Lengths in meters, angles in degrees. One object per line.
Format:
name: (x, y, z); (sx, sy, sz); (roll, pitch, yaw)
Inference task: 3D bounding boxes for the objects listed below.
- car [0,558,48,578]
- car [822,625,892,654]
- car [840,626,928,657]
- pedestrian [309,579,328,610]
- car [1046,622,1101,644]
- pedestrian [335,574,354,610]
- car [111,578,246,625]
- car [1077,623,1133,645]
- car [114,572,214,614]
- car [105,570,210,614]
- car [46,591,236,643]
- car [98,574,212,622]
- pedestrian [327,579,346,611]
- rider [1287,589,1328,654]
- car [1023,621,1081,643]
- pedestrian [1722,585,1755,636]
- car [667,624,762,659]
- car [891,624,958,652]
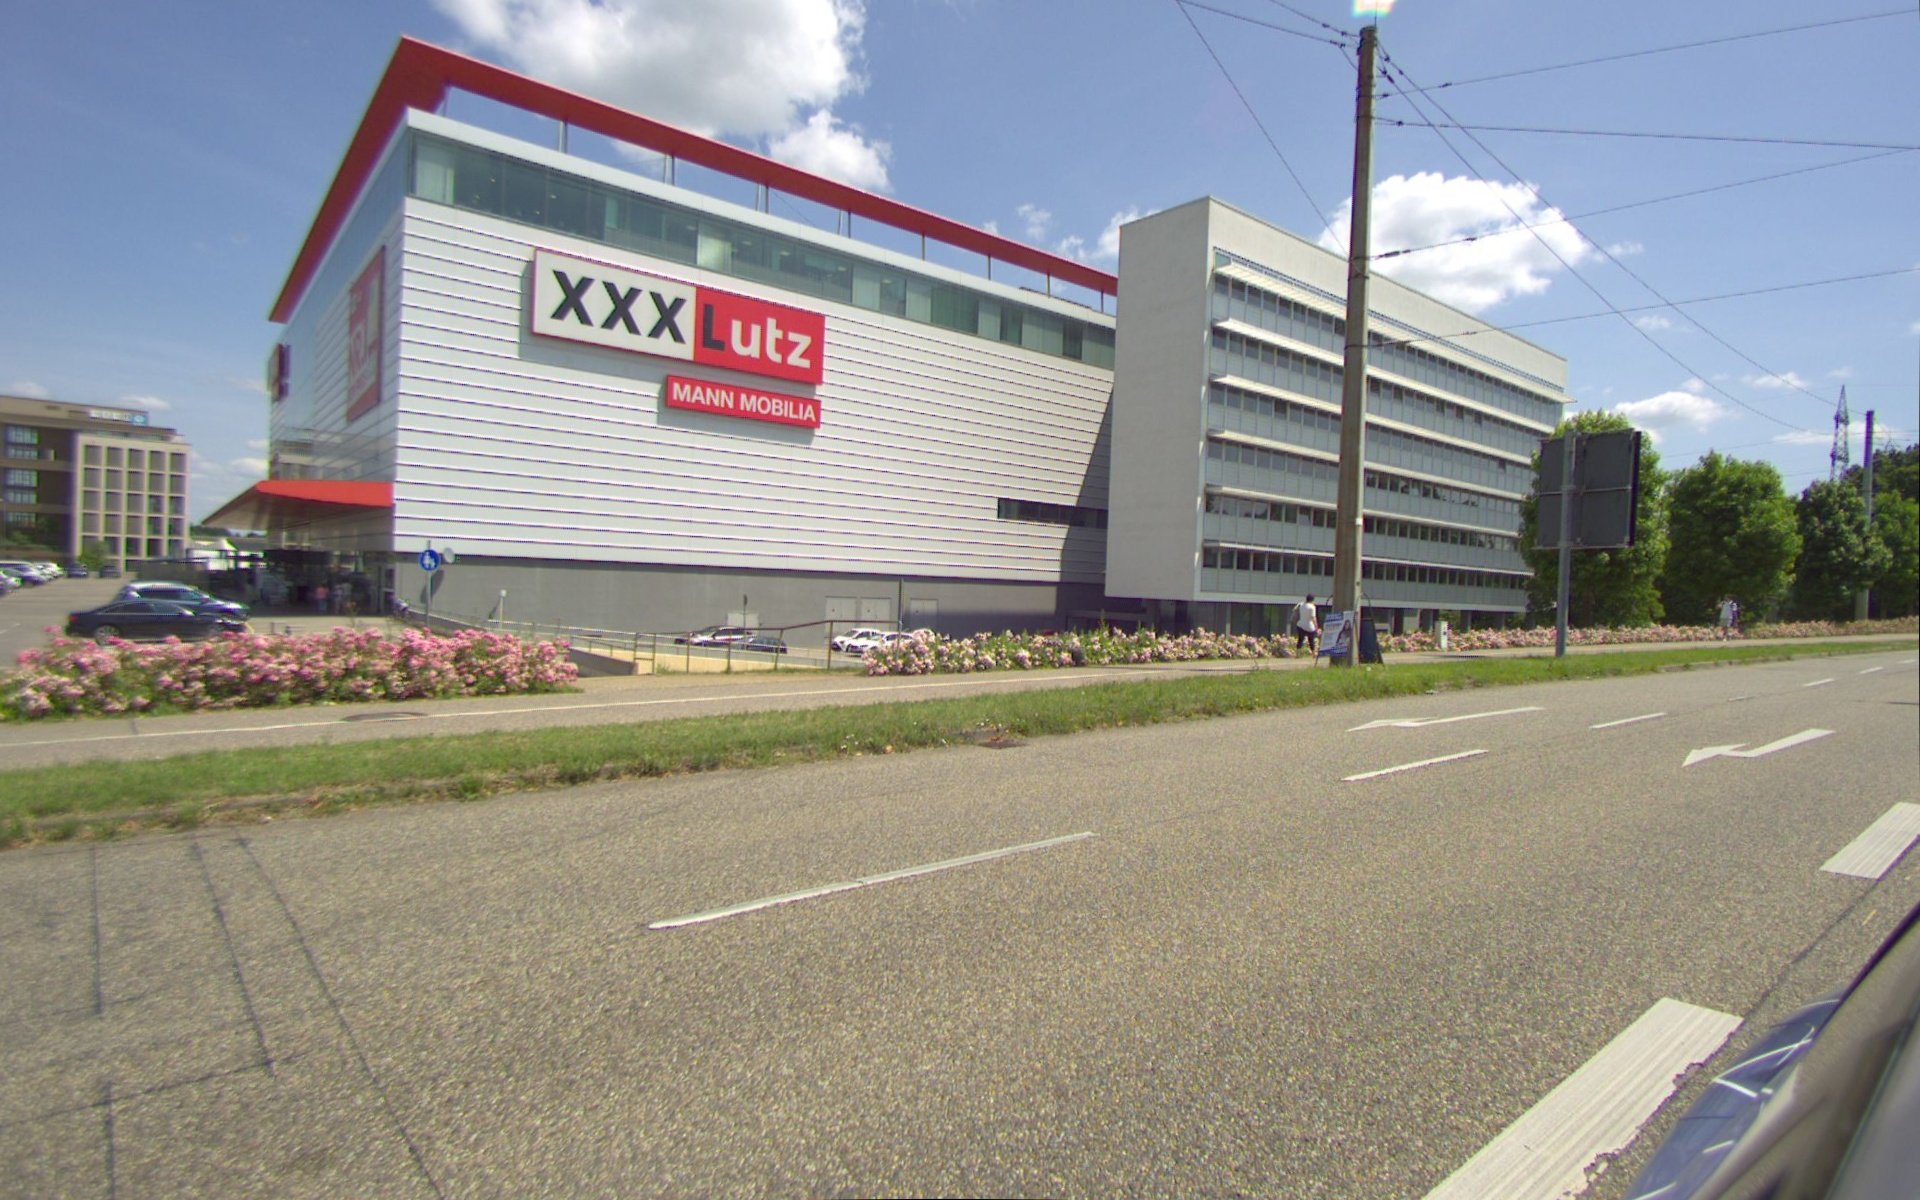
car: (-80.349, -2.718, 85.462); (4.912, 1.631, 1.997); (0, 0, -41)
car: (-6.333, 2.418, 62.447); (3.930, 1.632, 1.997); (0, 0, -41)
car: (-4.490, 2.431, 60.536); (5.056, 1.632, 1.997); (0, 0, -41)
pedestrian: (-32.951, -0.270, 51.971); (0.723, 1.577, 0.741); (1, 0, -42)
car: (7.987, 2.303, 71.061); (3.930, 1.403, 1.646); (0, 0, -41)
pedestrian: (-32.076, -0.411, 52.749); (0.723, 1.893, 0.741); (1, 0, -42)
car: (-31.837, 0.083, 41.302); (4.256, 1.804, 1.997); (0, -1, -41)
car: (9.853, 2.295, 68.805); (3.930, 1.338, 1.607); (0, 0, -41)
car: (-40.561, -0.376, 51.605); (3.930, 2.039, 1.997); (0, 1, -41)
car: (-39.132, -0.372, 49.374); (3.930, 2.039, 1.997); (0, 0, -41)
car: (-27.750, 0.541, 34.460); (4.912, 1.631, 1.997); (0, 0, -41)
car: (-35.805, -0.106, 45.059); (3.930, 2.039, 1.997); (0, 1, -41)
pedestrian: (-31.869, -0.254, 51.713); (0.723, 1.577, 0.741); (1, 0, -42)
rider: (8.064, 0.481, 23.485); (0.607, 1.476, 0.670); (0, 0, -41)
car: (6.639, 2.294, 72.940); (3.930, 1.465, 1.997); (0, 0, -41)
pedestrian: (29.315, 0.393, 38.113); (0.913, 1.872, 0.758); (0, 0, -38)
car: (-12.976, 2.174, 53.560); (4.509, 1.632, 1.997); (0, 0, -41)
car: (-2.285, 2.408, 65.643); (3.930, 1.632, 1.997); (0, 0, -41)
